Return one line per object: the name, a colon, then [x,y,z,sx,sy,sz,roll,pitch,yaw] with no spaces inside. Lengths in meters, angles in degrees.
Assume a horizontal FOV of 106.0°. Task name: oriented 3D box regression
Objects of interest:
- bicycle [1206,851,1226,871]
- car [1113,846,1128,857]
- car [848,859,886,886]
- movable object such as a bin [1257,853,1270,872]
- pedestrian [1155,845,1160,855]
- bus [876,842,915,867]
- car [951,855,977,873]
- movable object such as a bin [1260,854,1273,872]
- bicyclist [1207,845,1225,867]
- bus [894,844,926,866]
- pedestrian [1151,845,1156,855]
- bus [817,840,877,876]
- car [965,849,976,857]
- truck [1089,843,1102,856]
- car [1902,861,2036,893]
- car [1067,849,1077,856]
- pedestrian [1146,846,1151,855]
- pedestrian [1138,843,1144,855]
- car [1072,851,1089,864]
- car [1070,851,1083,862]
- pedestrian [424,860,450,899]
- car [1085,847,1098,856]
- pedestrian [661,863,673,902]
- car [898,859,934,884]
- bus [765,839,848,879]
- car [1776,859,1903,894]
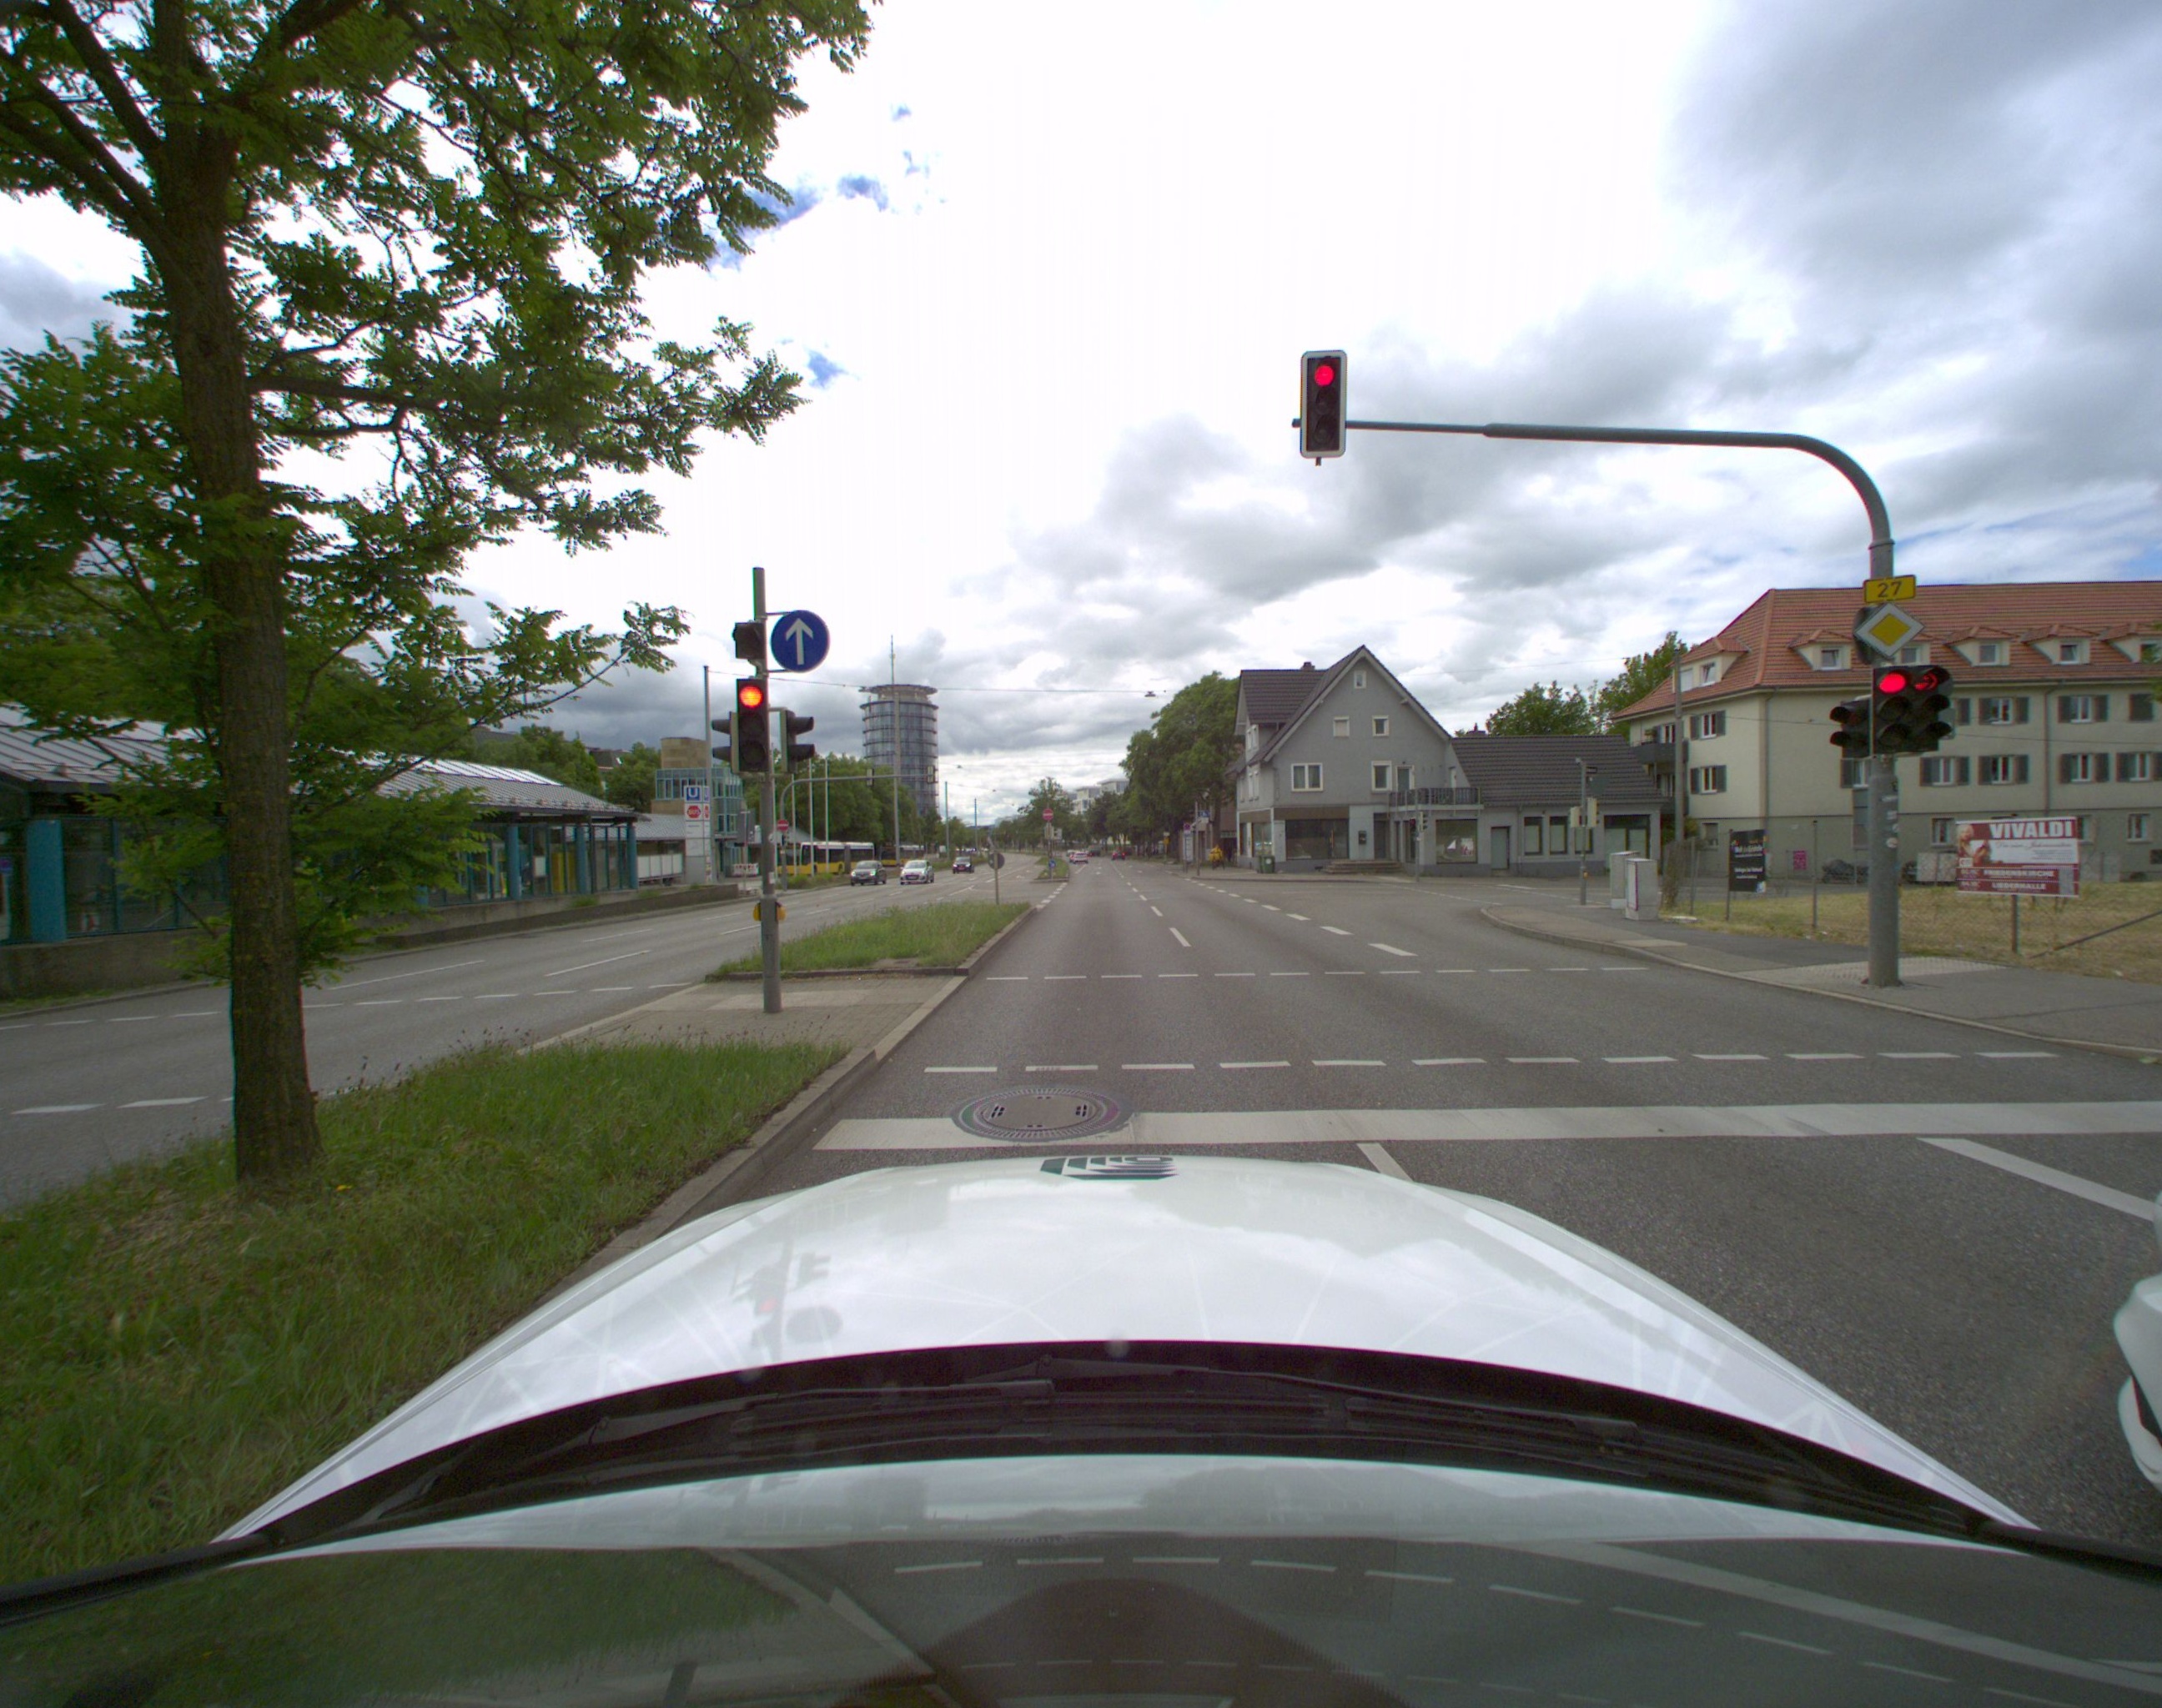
bicycle: [8.824,0.430,53.191,1.066,1.217,2.448,-2,0,14]
car: [5.632,-0.339,116.484,1.883,1.494,4.097,-3,-1,-1]
car: [-13.496,1.149,51.536,1.681,1.578,3.344,-2,0,-4]
movable object such as a bin: [10.034,0.459,44.751,0.527,0.979,0.737,-2,0,2]
pedestrian: [12.879,-0.665,136.550,0.649,1.570,0.669,-2,0,-6]
bus: [-26.100,0.094,115.320,3.135,3.225,10.282,-2,0,0]
car: [-10.684,0.911,74.644,1.696,1.492,3.562,-2,0,1]
movable object such as a bin: [10.028,0.479,43.960,0.527,0.979,0.737,-2,0,2]
bicyclist: [8.806,0.123,53.170,1.066,1.357,0.630,-2,0,13]
bus: [-26.042,0.119,124.329,3.134,3.225,7.765,-2,0,0]
pedestrian: [12.193,-0.663,136.485,0.649,1.570,0.669,-2,0,-6]
bus: [-23.356,0.369,81.870,2.975,3.270,7.889,-2,0,6]
car: [-27.265,-0.183,201.220,1.958,2.014,4.001,0,-1,2]
truck: [2.749,-0.824,156.674,2.246,2.416,4.928,-1,0,-3]
car: [39.808,1.025,36.581,3.972,1.377,1.871,0,0,2]
car: [-1.916,-0.363,173.475,1.963,1.420,4.017,-2,0,-3]
pedestrian: [11.394,-0.626,136.654,0.649,1.570,0.669,-2,0,-6]
pedestrian: [10.137,-0.901,137.127,0.967,2.014,0.981,0,-1,1]
car: [-0.055,0.439,101.534,1.986,1.477,4.257,-2,0,1]
car: [-0.631,0.350,112.925,1.817,1.540,4.113,-1,0,0]
pedestrian: [-27.758,1.092,35.107,0.520,1.655,0.709,-1,0,-5]
car: [2.091,-0.481,165.288,2.246,1.757,4.928,-2,0,-3]
pedestrian: [-17.305,1.175,34.015,0.420,1.591,0.353,-2,0,-28]
car: [-10.343,1.057,51.325,1.680,1.462,3.552,-2,0,-3]
bus: [-24.328,0.403,72.871,2.975,3.250,10.186,-2,0,6]
car: [34.038,0.988,36.619,3.972,1.537,1.871,0,0,2]
